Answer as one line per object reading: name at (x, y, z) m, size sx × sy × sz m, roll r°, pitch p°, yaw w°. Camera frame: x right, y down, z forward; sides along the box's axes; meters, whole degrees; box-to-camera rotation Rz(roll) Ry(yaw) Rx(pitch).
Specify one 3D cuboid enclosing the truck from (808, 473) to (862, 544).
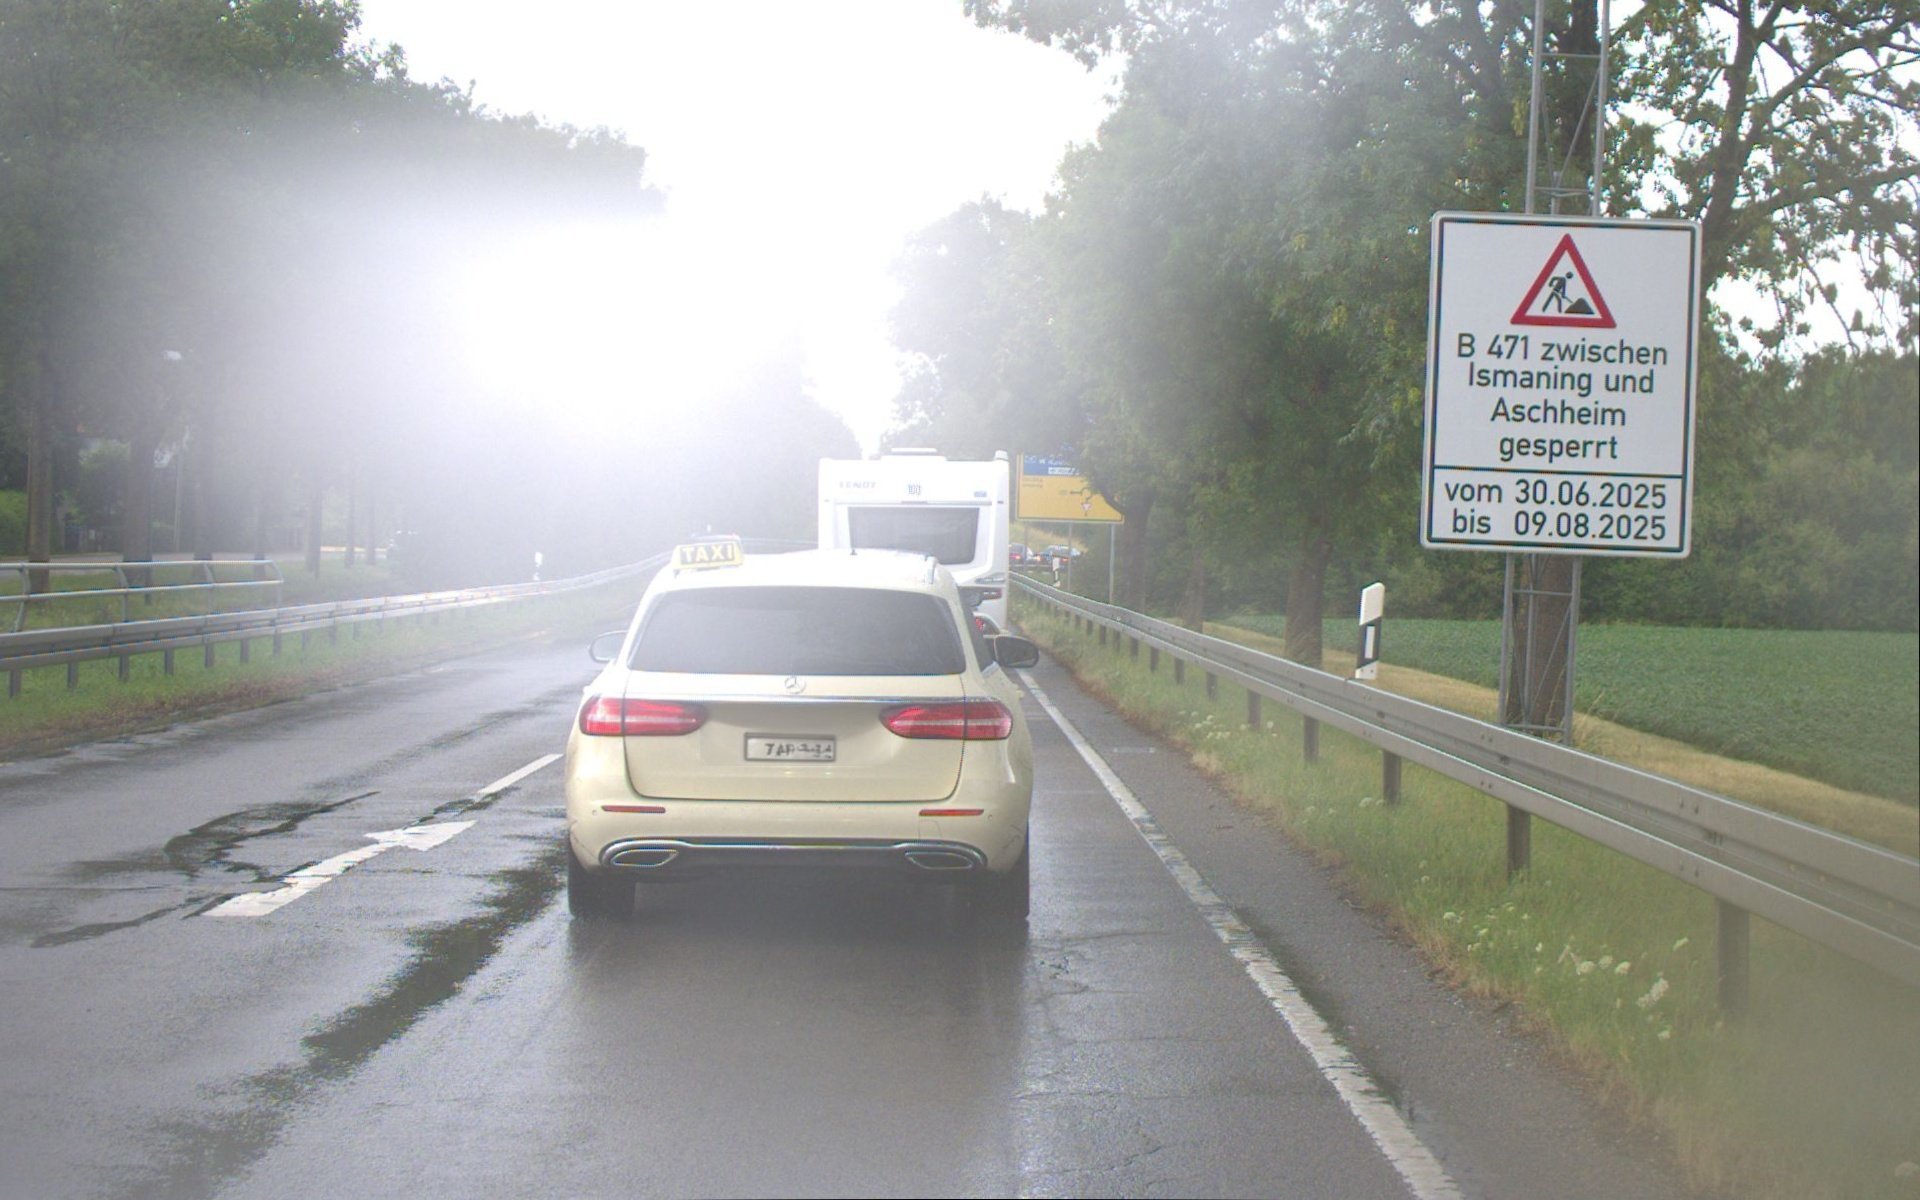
truck at (-6.225, -4.565, 172.180) m, size 2.576 × 3.440 × 9.557 m, roll 0°, pitch 1°, yaw -2°

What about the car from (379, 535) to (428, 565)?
car at (-28.249, -2.545, 174.538) m, size 1.785 × 1.411 × 4.000 m, roll 2°, pitch 1°, yaw 1°

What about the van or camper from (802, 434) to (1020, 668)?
van or camper at (-0.535, -0.615, 42.794) m, size 2.489 × 2.676 × 5.700 m, roll 1°, pitch 1°, yaw 1°

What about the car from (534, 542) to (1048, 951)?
car at (-0.595, 0.500, 14.509) m, size 1.865 × 1.471 × 4.000 m, roll 0°, pitch 1°, yaw 1°

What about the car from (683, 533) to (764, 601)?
car at (-5.750, -0.827, 83.886) m, size 1.764 × 1.614 × 4.000 m, roll 0°, pitch 1°, yaw -1°

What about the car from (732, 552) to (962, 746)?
car at (-0.845, 0.340, 27.678) m, size 1.664 × 1.426 × 4.000 m, roll 0°, pitch 1°, yaw 1°
